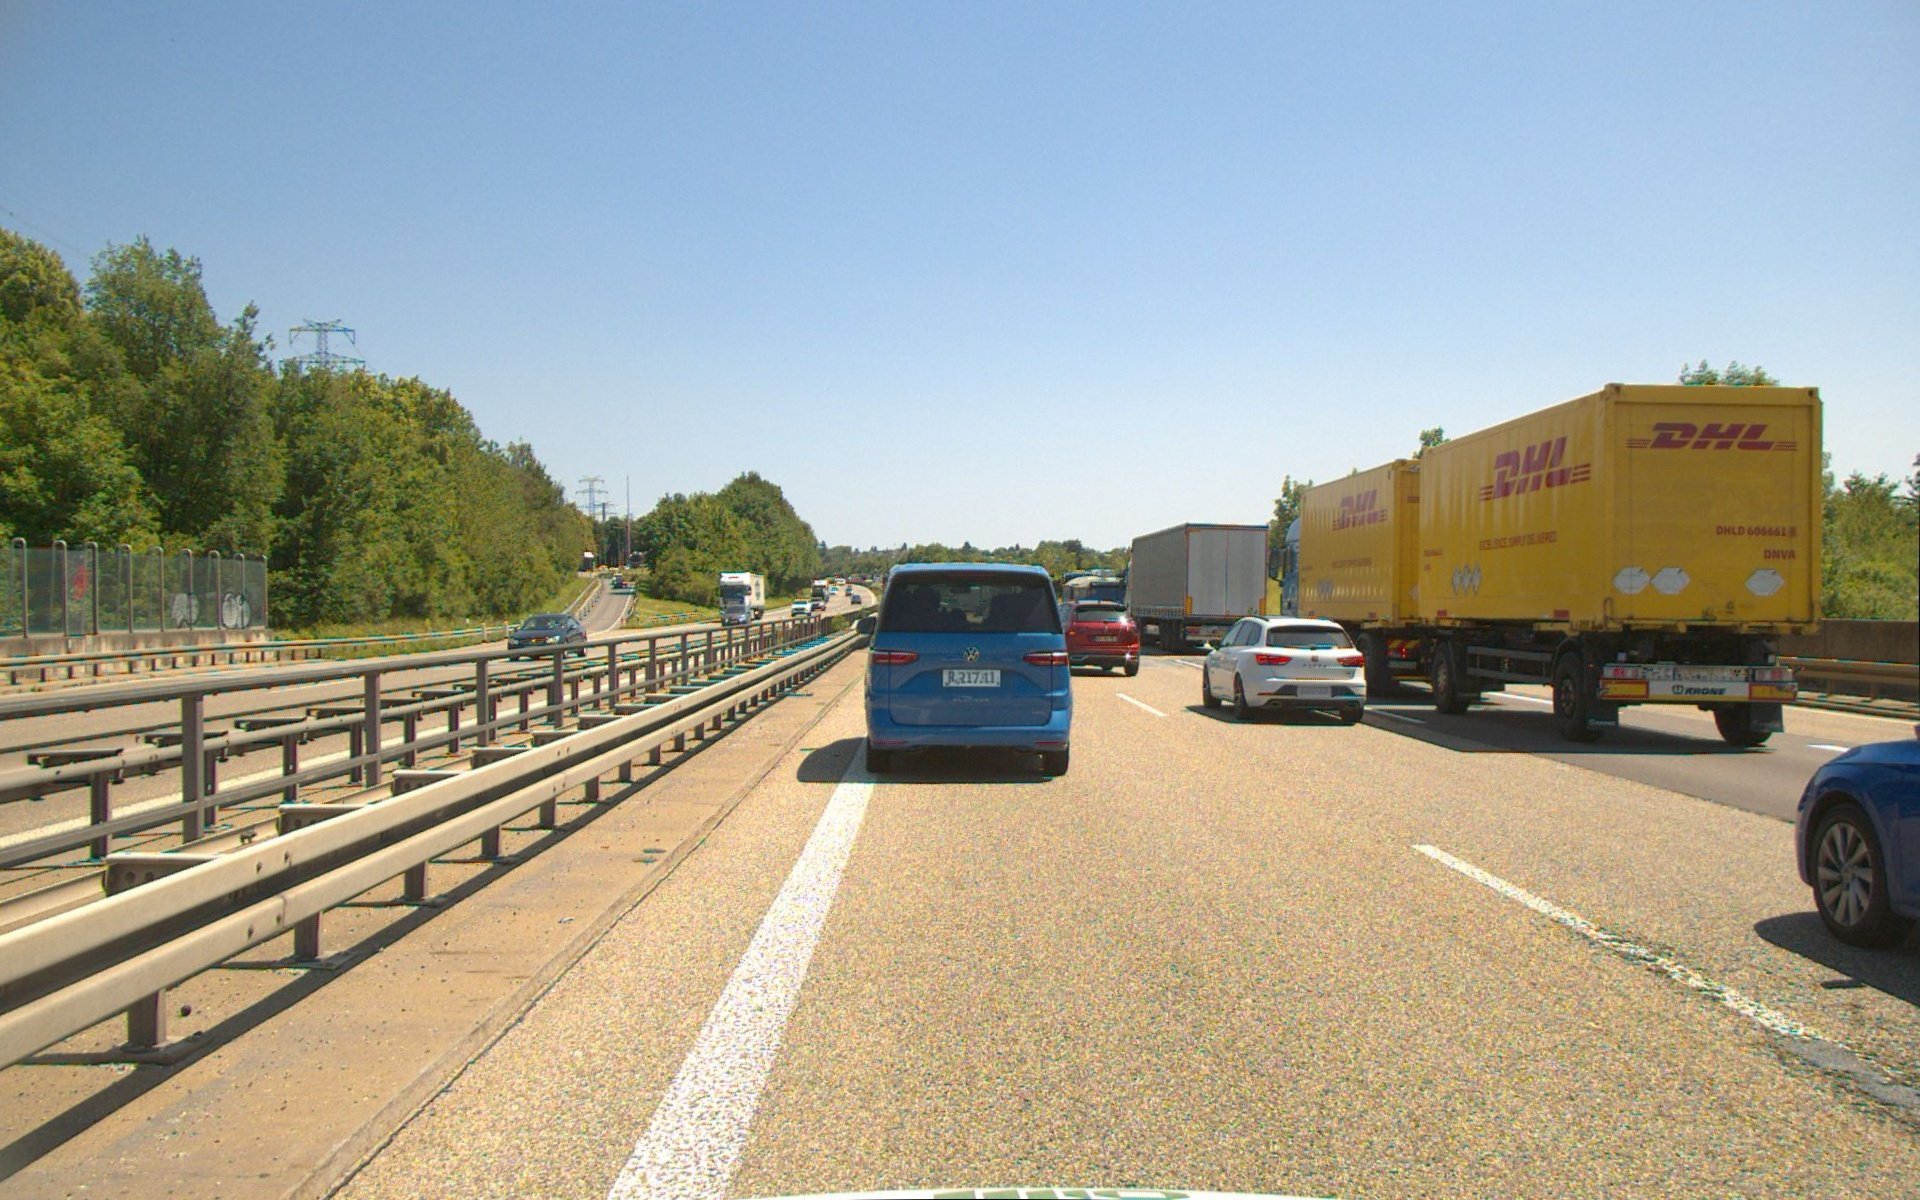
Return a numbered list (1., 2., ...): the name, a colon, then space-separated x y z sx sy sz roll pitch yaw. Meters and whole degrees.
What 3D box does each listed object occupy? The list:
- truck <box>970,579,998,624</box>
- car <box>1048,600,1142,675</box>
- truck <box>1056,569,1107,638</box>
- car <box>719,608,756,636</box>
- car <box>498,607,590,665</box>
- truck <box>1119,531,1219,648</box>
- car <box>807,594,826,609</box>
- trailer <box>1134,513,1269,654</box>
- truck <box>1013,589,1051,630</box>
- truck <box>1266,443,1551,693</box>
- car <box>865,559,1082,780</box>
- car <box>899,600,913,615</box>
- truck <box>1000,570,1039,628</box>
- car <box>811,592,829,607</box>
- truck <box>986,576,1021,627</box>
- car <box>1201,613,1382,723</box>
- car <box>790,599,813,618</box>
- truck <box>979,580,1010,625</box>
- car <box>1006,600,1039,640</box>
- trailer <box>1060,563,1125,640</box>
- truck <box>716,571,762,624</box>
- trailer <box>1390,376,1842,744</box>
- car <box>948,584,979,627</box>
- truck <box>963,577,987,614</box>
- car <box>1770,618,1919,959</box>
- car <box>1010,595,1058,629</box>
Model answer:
1. truck: 3.006 0.309 210.367 2.776 5.467 12.549 1 -1 -2
2. car: 3.062 0.819 38.145 1.813 1.636 3.999 0 0 -1
3. truck: 6.893 0.233 94.539 2.320 3.787 6.031 1 -1 -1
4. car: -14.191 1.392 105.678 1.792 1.637 4.168 -2 0 -1
5. car: -12.833 1.080 51.252 1.792 1.637 4.168 -2 0 -1
6. truck: 7.838 -0.354 62.761 2.712 4.167 6.982 1 0 -1
7. car: -17.637 0.202 203.419 1.883 1.718 4.120 -2 0 -1
8. trailer: 7.928 -0.425 55.874 2.699 4.219 11.309 1 -1 -1
9. truck: 5.881 0.820 136.204 2.308 3.275 9.736 1 -1 -2
10. truck: 8.431 -0.464 32.712 2.667 4.126 10.333 1 -1 -1
11. car: 0.103 0.600 16.124 1.844 1.869 3.999 0 0 -1
12. car: -7.011 0.986 216.373 1.704 1.944 3.680 1 -1 -1
13. truck: 5.405 -0.026 152.238 2.776 5.128 11.141 1 -1 -2
14. car: -17.569 -0.069 208.081 1.883 1.718 4.120 -2 0 -1
15. truck: 4.474 0.229 172.305 2.776 5.128 11.811 1 -1 -2
16. car: 4.671 0.913 23.883 1.745 1.411 4.187 0 0 -1
17. car: -15.620 0.826 163.502 1.883 1.718 4.120 -2 0 -1
18. truck: 3.943 0.404 191.697 2.776 4.972 13.214 1 -1 -2
19. car: 3.285 1.044 87.294 1.551 2.049 3.492 1 -1 -1
20. trailer: 6.990 0.155 88.684 2.331 3.810 11.185 1 -1 -1
21. truck: -18.856 -0.212 141.539 2.929 4.354 7.187 -2 0 -1
22. trailer: 8.545 -0.391 23.066 2.646 4.094 8.928 1 -1 -1
23. car: 0.295 0.659 179.620 3.030 4.474 11.926 1 -1 -1
24. truck: 2.071 -0.559 238.114 2.776 5.128 12.907 1 -1 -2
25. car: 4.999 0.823 6.223 1.675 1.465 4.499 1 0 -1
26. car: 3.206 0.509 72.576 1.801 1.438 3.998 0 0 -2
